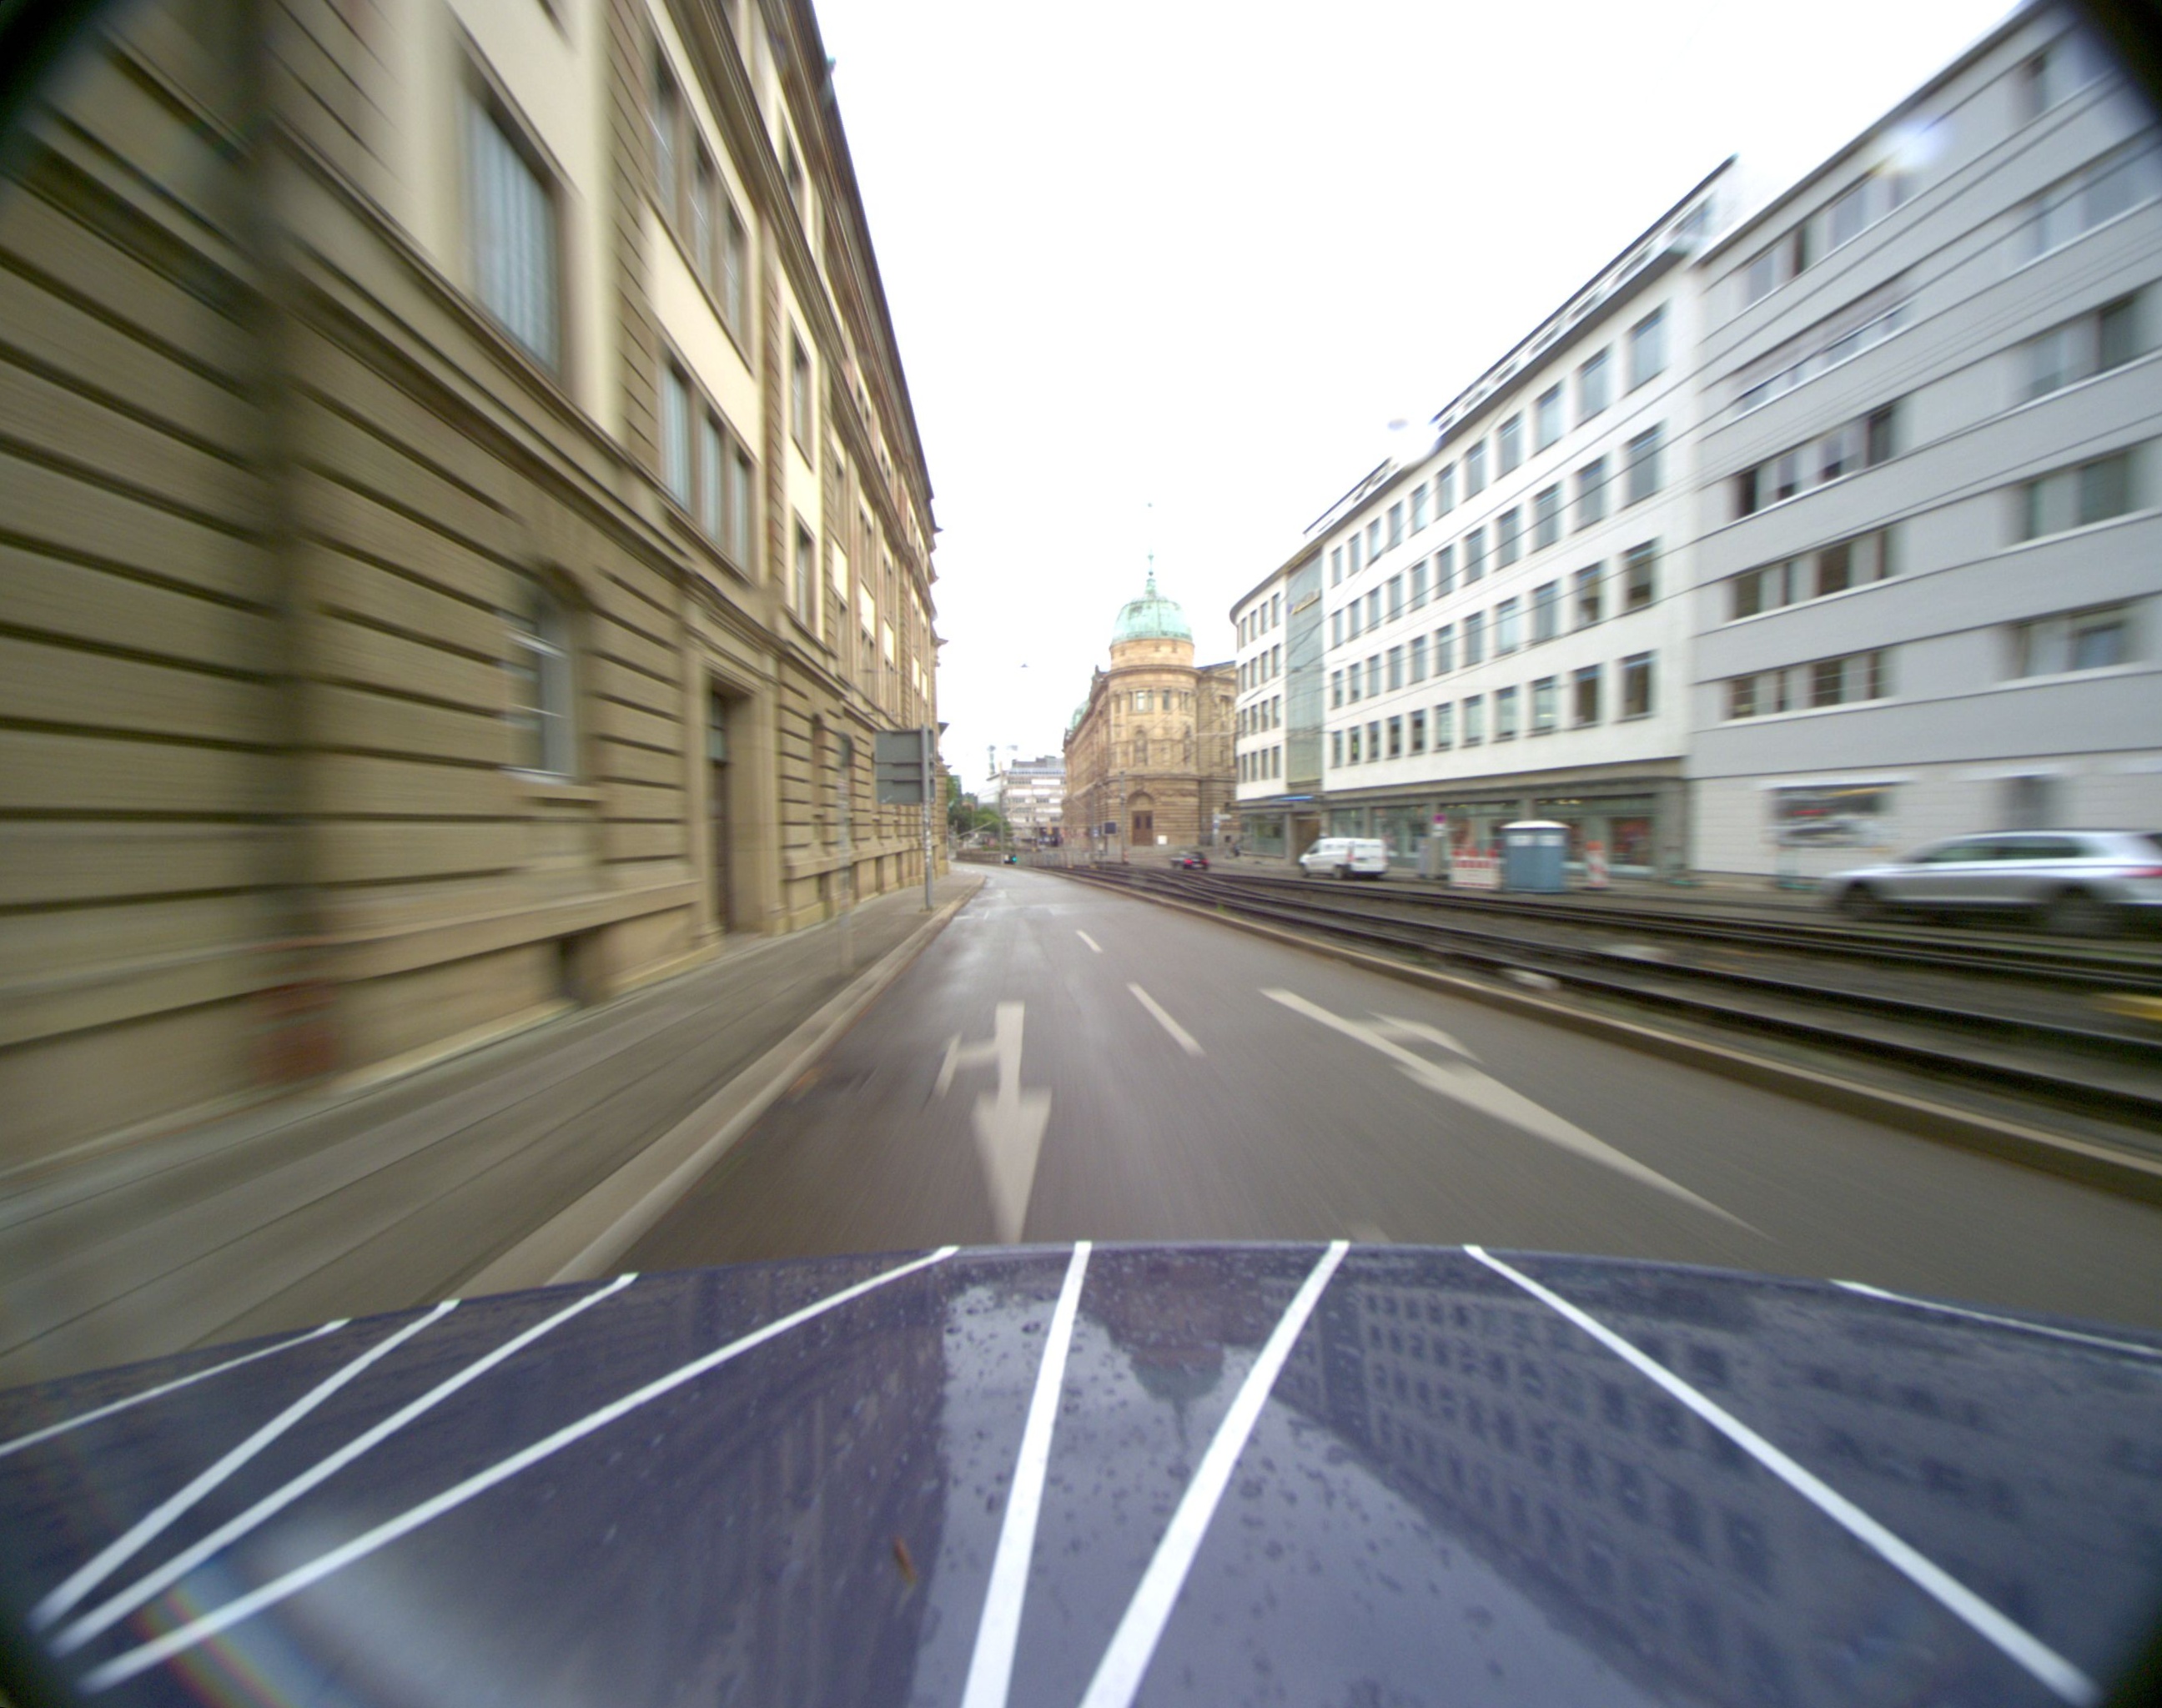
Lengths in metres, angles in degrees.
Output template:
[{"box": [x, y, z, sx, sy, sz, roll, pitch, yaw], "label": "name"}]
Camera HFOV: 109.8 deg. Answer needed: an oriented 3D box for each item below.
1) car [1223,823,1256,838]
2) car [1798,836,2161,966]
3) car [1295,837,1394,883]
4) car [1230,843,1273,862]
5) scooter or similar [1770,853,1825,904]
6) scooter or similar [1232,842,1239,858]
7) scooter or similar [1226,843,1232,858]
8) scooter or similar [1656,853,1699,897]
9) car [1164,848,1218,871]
[{"box": [18.566, -2.763, 89.158, 2.001, 1.631, 3.993, -3, 2, -16], "label": "car"}, {"box": [15.076, 0.609, 12.384, 2.000, 1.664, 4.692, -3, 0, -8], "label": "car"}, {"box": [11.959, 0.181, 34.861, 2.000, 1.832, 5.125, -3, 2, -10], "label": "car"}, {"box": [15.162, -0.142, 67.361, 1.780, 1.390, 4.334, 0, 3, 42], "label": "car"}, {"box": [17.797, 0.585, 18.890, 0.382, 1.196, 0.973, -3, 3, -9], "label": "scooter or similar"}, {"box": [12.801, -0.345, 62.871, 0.410, 1.194, 1.561, -2, 2, 15], "label": "scooter or similar"}, {"box": [12.241, -0.298, 62.922, 0.410, 1.194, 1.560, -2, 2, 8], "label": "scooter or similar"}, {"box": [17.182, 0.583, 21.917, 0.382, 1.196, 0.973, -3, 3, -9], "label": "scooter or similar"}, {"box": [6.904, 0.328, 48.164, 2.000, 1.248, 4.689, -1, 2, -10], "label": "car"}]
